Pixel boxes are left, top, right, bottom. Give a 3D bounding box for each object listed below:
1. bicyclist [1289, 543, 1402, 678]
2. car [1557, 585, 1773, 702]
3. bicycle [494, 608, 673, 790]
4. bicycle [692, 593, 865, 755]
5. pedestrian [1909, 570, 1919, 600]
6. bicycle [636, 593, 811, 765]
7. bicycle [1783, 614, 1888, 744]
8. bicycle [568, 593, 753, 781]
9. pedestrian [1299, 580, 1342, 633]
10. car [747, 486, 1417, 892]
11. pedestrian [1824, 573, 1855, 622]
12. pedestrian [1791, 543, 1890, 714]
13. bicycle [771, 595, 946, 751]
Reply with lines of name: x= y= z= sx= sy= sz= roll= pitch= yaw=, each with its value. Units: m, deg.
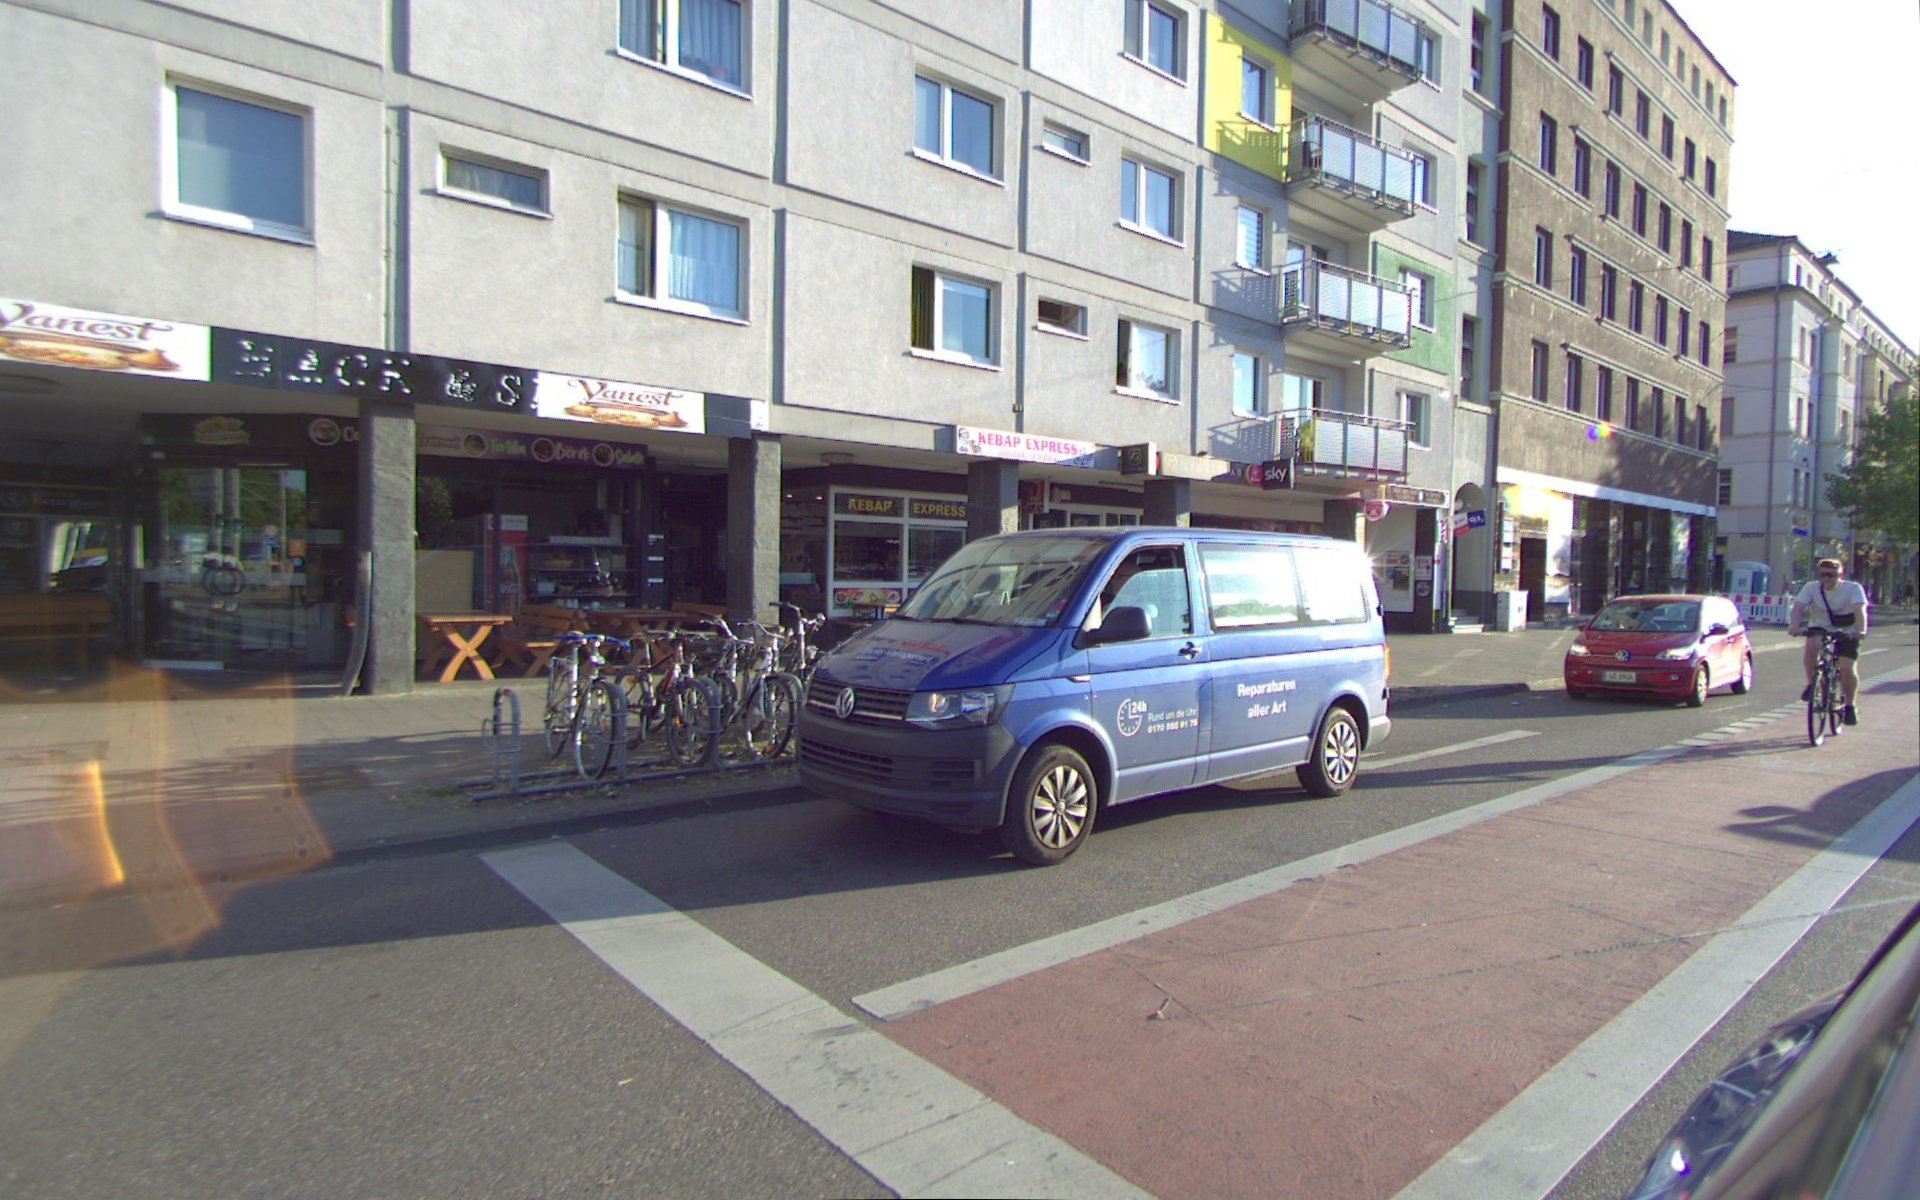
bicyclist: x=5.475 y=0.111 z=14.387 sx=1.375 sy=1.830 sz=0.736 roll=1 pitch=1 yaw=32
car: x=10.274 y=0.533 z=14.687 sx=3.476 sy=1.499 sz=1.686 roll=-1 pitch=0 yaw=-39
bicycle: x=-2.774 y=0.637 z=7.329 sx=0.596 sy=1.074 sz=1.871 roll=0 pitch=2 yaw=-41
bicycle: x=-1.631 y=0.577 z=8.829 sx=0.558 sy=1.139 sz=1.871 roll=0 pitch=5 yaw=-42
pedestrian: x=54.791 y=-0.876 z=57.825 sx=0.908 sy=1.696 sz=0.727 roll=0 pitch=1 yaw=-40
bicycle: x=-2.009 y=0.586 z=8.407 sx=0.558 sy=1.139 sz=1.871 roll=0 pitch=5 yaw=-42
bicycle: x=8.960 y=0.757 z=10.335 sx=1.816 sy=1.173 sz=0.530 roll=-1 pitch=1 yaw=-40
bicycle: x=-2.347 y=0.590 z=7.772 sx=0.597 sy=1.139 sz=1.871 roll=0 pitch=5 yaw=-42
pedestrian: x=8.091 y=0.137 z=22.700 sx=0.715 sy=1.166 sz=0.606 roll=0 pitch=2 yaw=-40
car: x=1.102 y=0.373 z=7.131 sx=4.746 sy=1.957 sz=1.941 roll=-1 pitch=2 yaw=-40
pedestrian: x=29.400 y=-0.100 z=33.830 sx=0.868 sy=1.616 sz=0.603 roll=0 pitch=2 yaw=-40
pedestrian: x=9.004 y=0.269 z=10.352 sx=0.828 sy=1.669 sz=0.639 roll=0 pitch=1 yaw=-40
bicycle: x=-0.970 y=0.601 z=9.219 sx=0.558 sy=1.139 sz=1.871 roll=0 pitch=5 yaw=-42
